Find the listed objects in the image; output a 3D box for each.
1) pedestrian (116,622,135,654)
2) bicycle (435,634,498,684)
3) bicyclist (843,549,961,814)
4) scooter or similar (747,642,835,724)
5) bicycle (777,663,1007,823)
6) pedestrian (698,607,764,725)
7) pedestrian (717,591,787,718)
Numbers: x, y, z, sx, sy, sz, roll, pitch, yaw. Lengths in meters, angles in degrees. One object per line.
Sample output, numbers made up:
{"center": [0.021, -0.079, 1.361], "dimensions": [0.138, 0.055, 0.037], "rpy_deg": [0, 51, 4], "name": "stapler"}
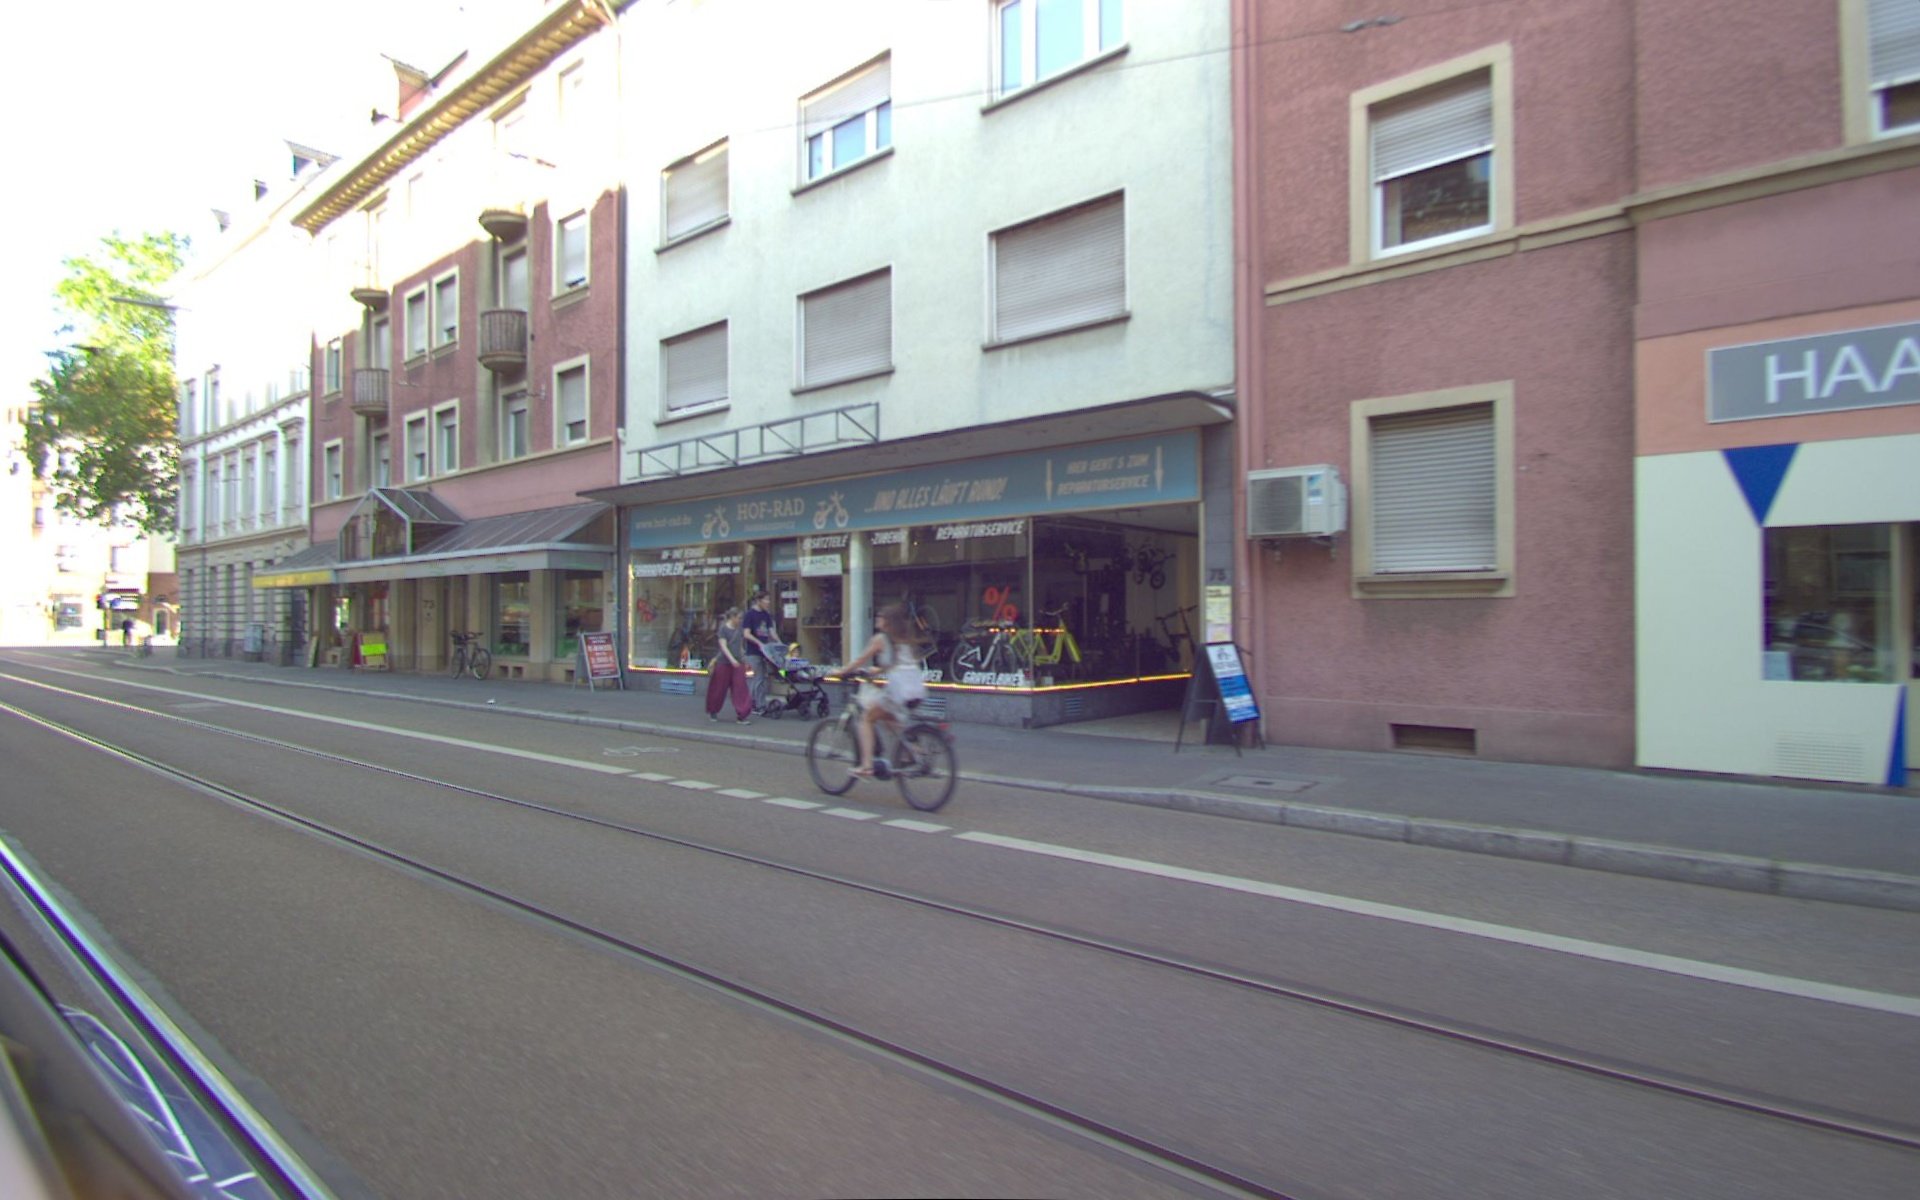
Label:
{"center": [-50.318, 2.280, 60.996], "dimensions": [0.809, 1.861, 0.784], "rpy_deg": [-1, -1, 44], "name": "pedestrian"}
{"center": [-11.382, 1.337, 23.290], "dimensions": [2.328, 1.068, 0.420], "rpy_deg": [-1, -1, 41], "name": "bicycle"}
{"center": [-0.472, 0.629, 8.219], "dimensions": [0.733, 2.029, 0.605], "rpy_deg": [-1, -1, 41], "name": "bicyclist"}
{"center": [-2.370, 1.135, 14.173], "dimensions": [1.104, 1.069, 0.655], "rpy_deg": [-2, -1, 41], "name": "scooter or similar"}
{"center": [-0.607, 1.103, 8.321], "dimensions": [2.043, 1.104, 0.596], "rpy_deg": [-1, -3, 41], "name": "bicycle"}
{"center": [-3.141, 0.884, 13.882], "dimensions": [0.623, 1.560, 0.629], "rpy_deg": [-1, -1, 40], "name": "pedestrian"}
{"center": [-3.059, 0.779, 14.869], "dimensions": [0.820, 1.803, 0.619], "rpy_deg": [-1, -1, 40], "name": "pedestrian"}
